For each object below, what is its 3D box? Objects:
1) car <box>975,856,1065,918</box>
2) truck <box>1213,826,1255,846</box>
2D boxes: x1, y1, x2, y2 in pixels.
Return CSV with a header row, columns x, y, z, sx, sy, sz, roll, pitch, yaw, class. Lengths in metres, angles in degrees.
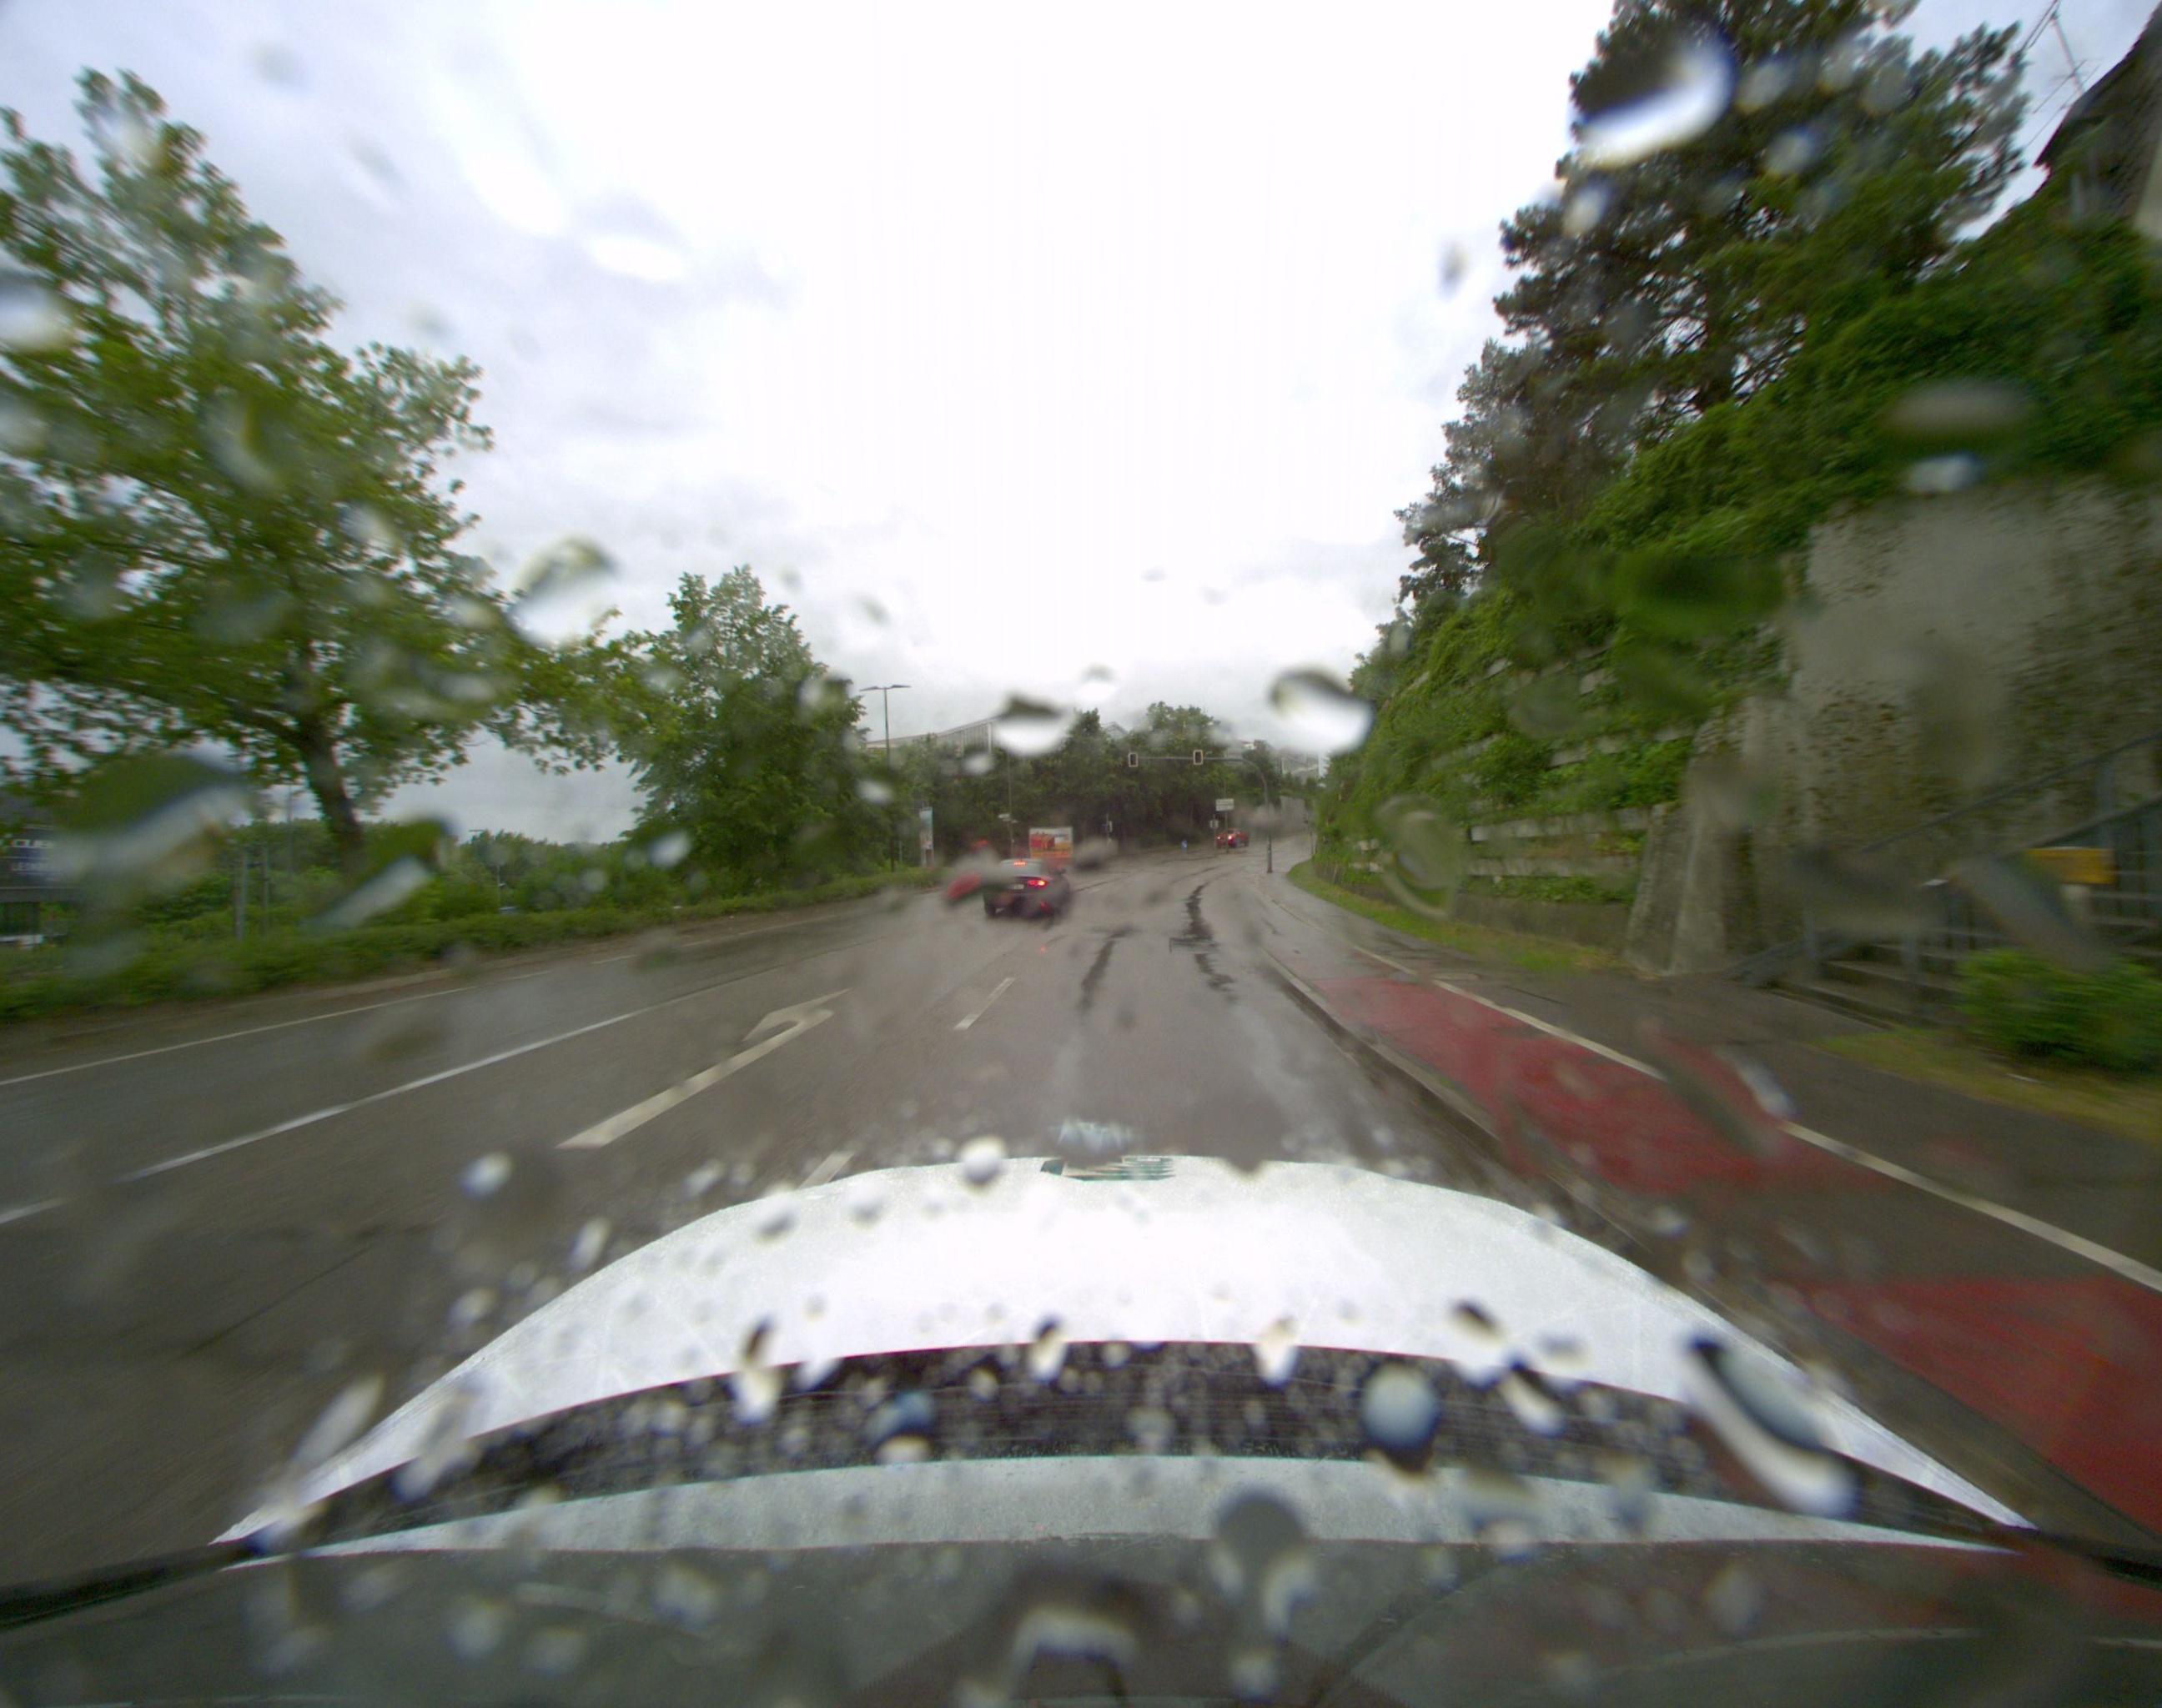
x,y,z,sx,sy,sz,roll,pitch,yaw,class
-1.495,0.795,21.469,1.747,1.395,4.005,-1,1,4,car
15.463,-1.799,82.221,1.974,2.013,5.372,-1,0,37,truck
